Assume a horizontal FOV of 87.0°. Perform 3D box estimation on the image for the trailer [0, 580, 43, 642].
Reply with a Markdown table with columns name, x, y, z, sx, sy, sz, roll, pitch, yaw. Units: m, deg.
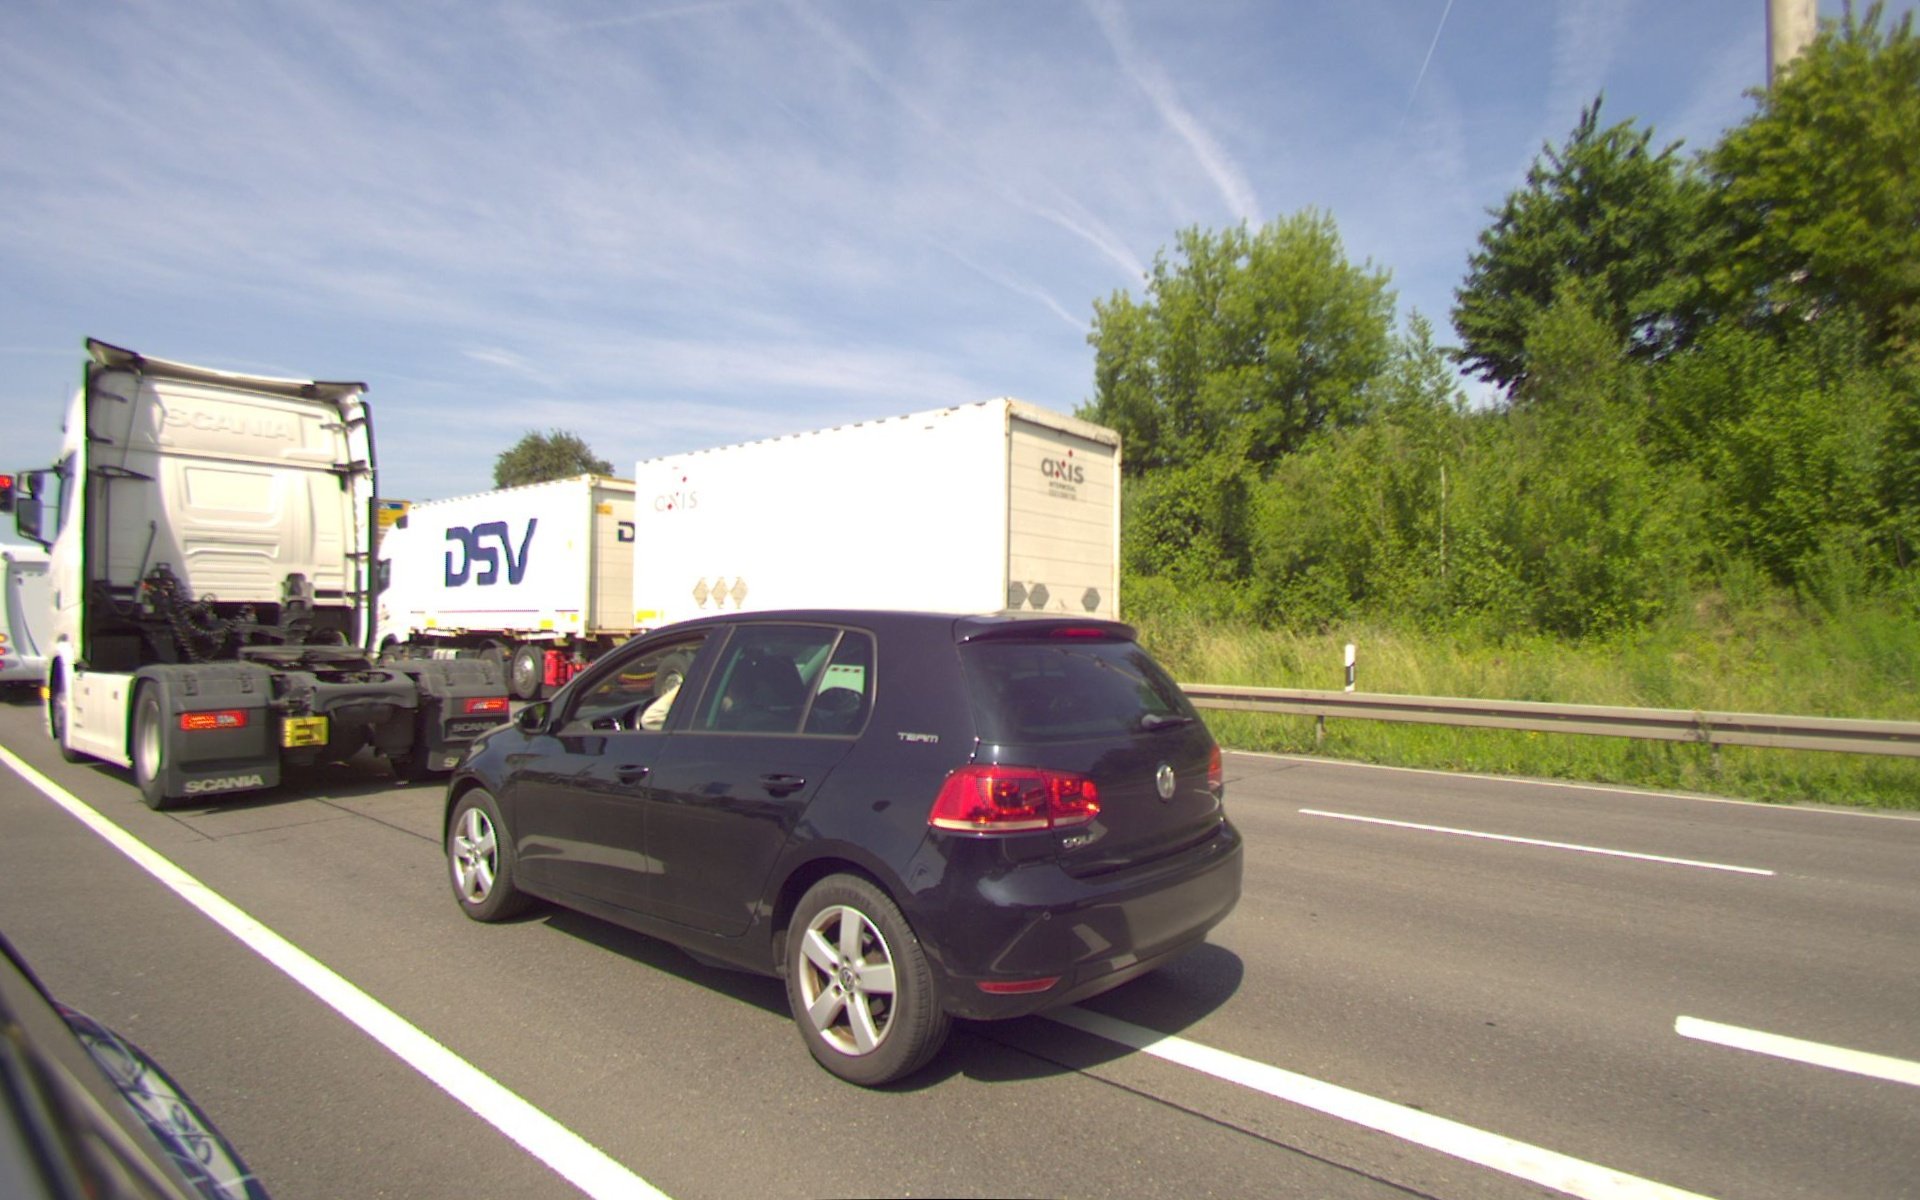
| name | x | y | z | sx | sy | sz | roll | pitch | yaw |
| --- | --- | --- | --- | --- | --- | --- | --- | --- | --- |
| trailer | -68.472 | 0.828 | 72.265 | 14.124 | 4.111 | 3.060 | -1 | -2 | 42 |

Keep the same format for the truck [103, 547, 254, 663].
| name | x | y | z | sx | sy | sz | roll | pitch | yaw |
| --- | --- | --- | --- | --- | --- | --- | --- | --- | --- |
| truck | -30.501 | 0.257 | 39.299 | 9.614 | 4.029 | 2.701 | -1 | -2 | 41 |

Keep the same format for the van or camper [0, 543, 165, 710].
| name | x | y | z | sx | sy | sz | roll | pitch | yaw |
| --- | --- | --- | --- | --- | --- | --- | --- | --- | --- |
| van or camper | -17.157 | 0.472 | 18.974 | 6.976 | 2.620 | 2.306 | -1 | -2 | 42 |

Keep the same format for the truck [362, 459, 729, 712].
| name | x | y | z | sx | sy | sz | roll | pitch | yaw |
| --- | --- | --- | --- | --- | --- | --- | --- | --- | --- |
| truck | -8.870 | -0.165 | 20.787 | 9.675 | 4.147 | 2.801 | -1 | -2 | 40 |

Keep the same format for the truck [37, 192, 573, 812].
| name | x | y | z | sx | sy | sz | roll | pitch | yaw |
| --- | --- | --- | --- | --- | --- | --- | --- | --- | --- |
| truck | -6.533 | -0.607 | 9.693 | 6.260 | 4.119 | 2.511 | -1 | -2 | 40 |

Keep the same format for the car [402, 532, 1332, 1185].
| name | x | y | z | sx | sy | sz | roll | pitch | yaw |
| --- | --- | --- | --- | --- | --- | --- | --- | --- | --- |
| car | -0.722 | 0.655 | 4.438 | 4.107 | 1.563 | 1.693 | -1 | -2 | 41 |

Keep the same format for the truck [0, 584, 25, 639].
| name | x | y | z | sx | sy | sz | roll | pitch | yaw |
| --- | --- | --- | --- | --- | --- | --- | --- | --- | --- |
| truck | -74.116 | 0.893 | 77.384 | 6.344 | 4.111 | 3.153 | -1 | -2 | 42 |

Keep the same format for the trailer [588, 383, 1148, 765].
| name | x | y | z | sx | sy | sz | roll | pitch | yaw |
| --- | --- | --- | --- | --- | --- | --- | --- | --- | --- |
| trailer | -1.812 | -0.221 | 14.772 | 8.750 | 4.100 | 2.811 | -1 | -2 | 40 |
